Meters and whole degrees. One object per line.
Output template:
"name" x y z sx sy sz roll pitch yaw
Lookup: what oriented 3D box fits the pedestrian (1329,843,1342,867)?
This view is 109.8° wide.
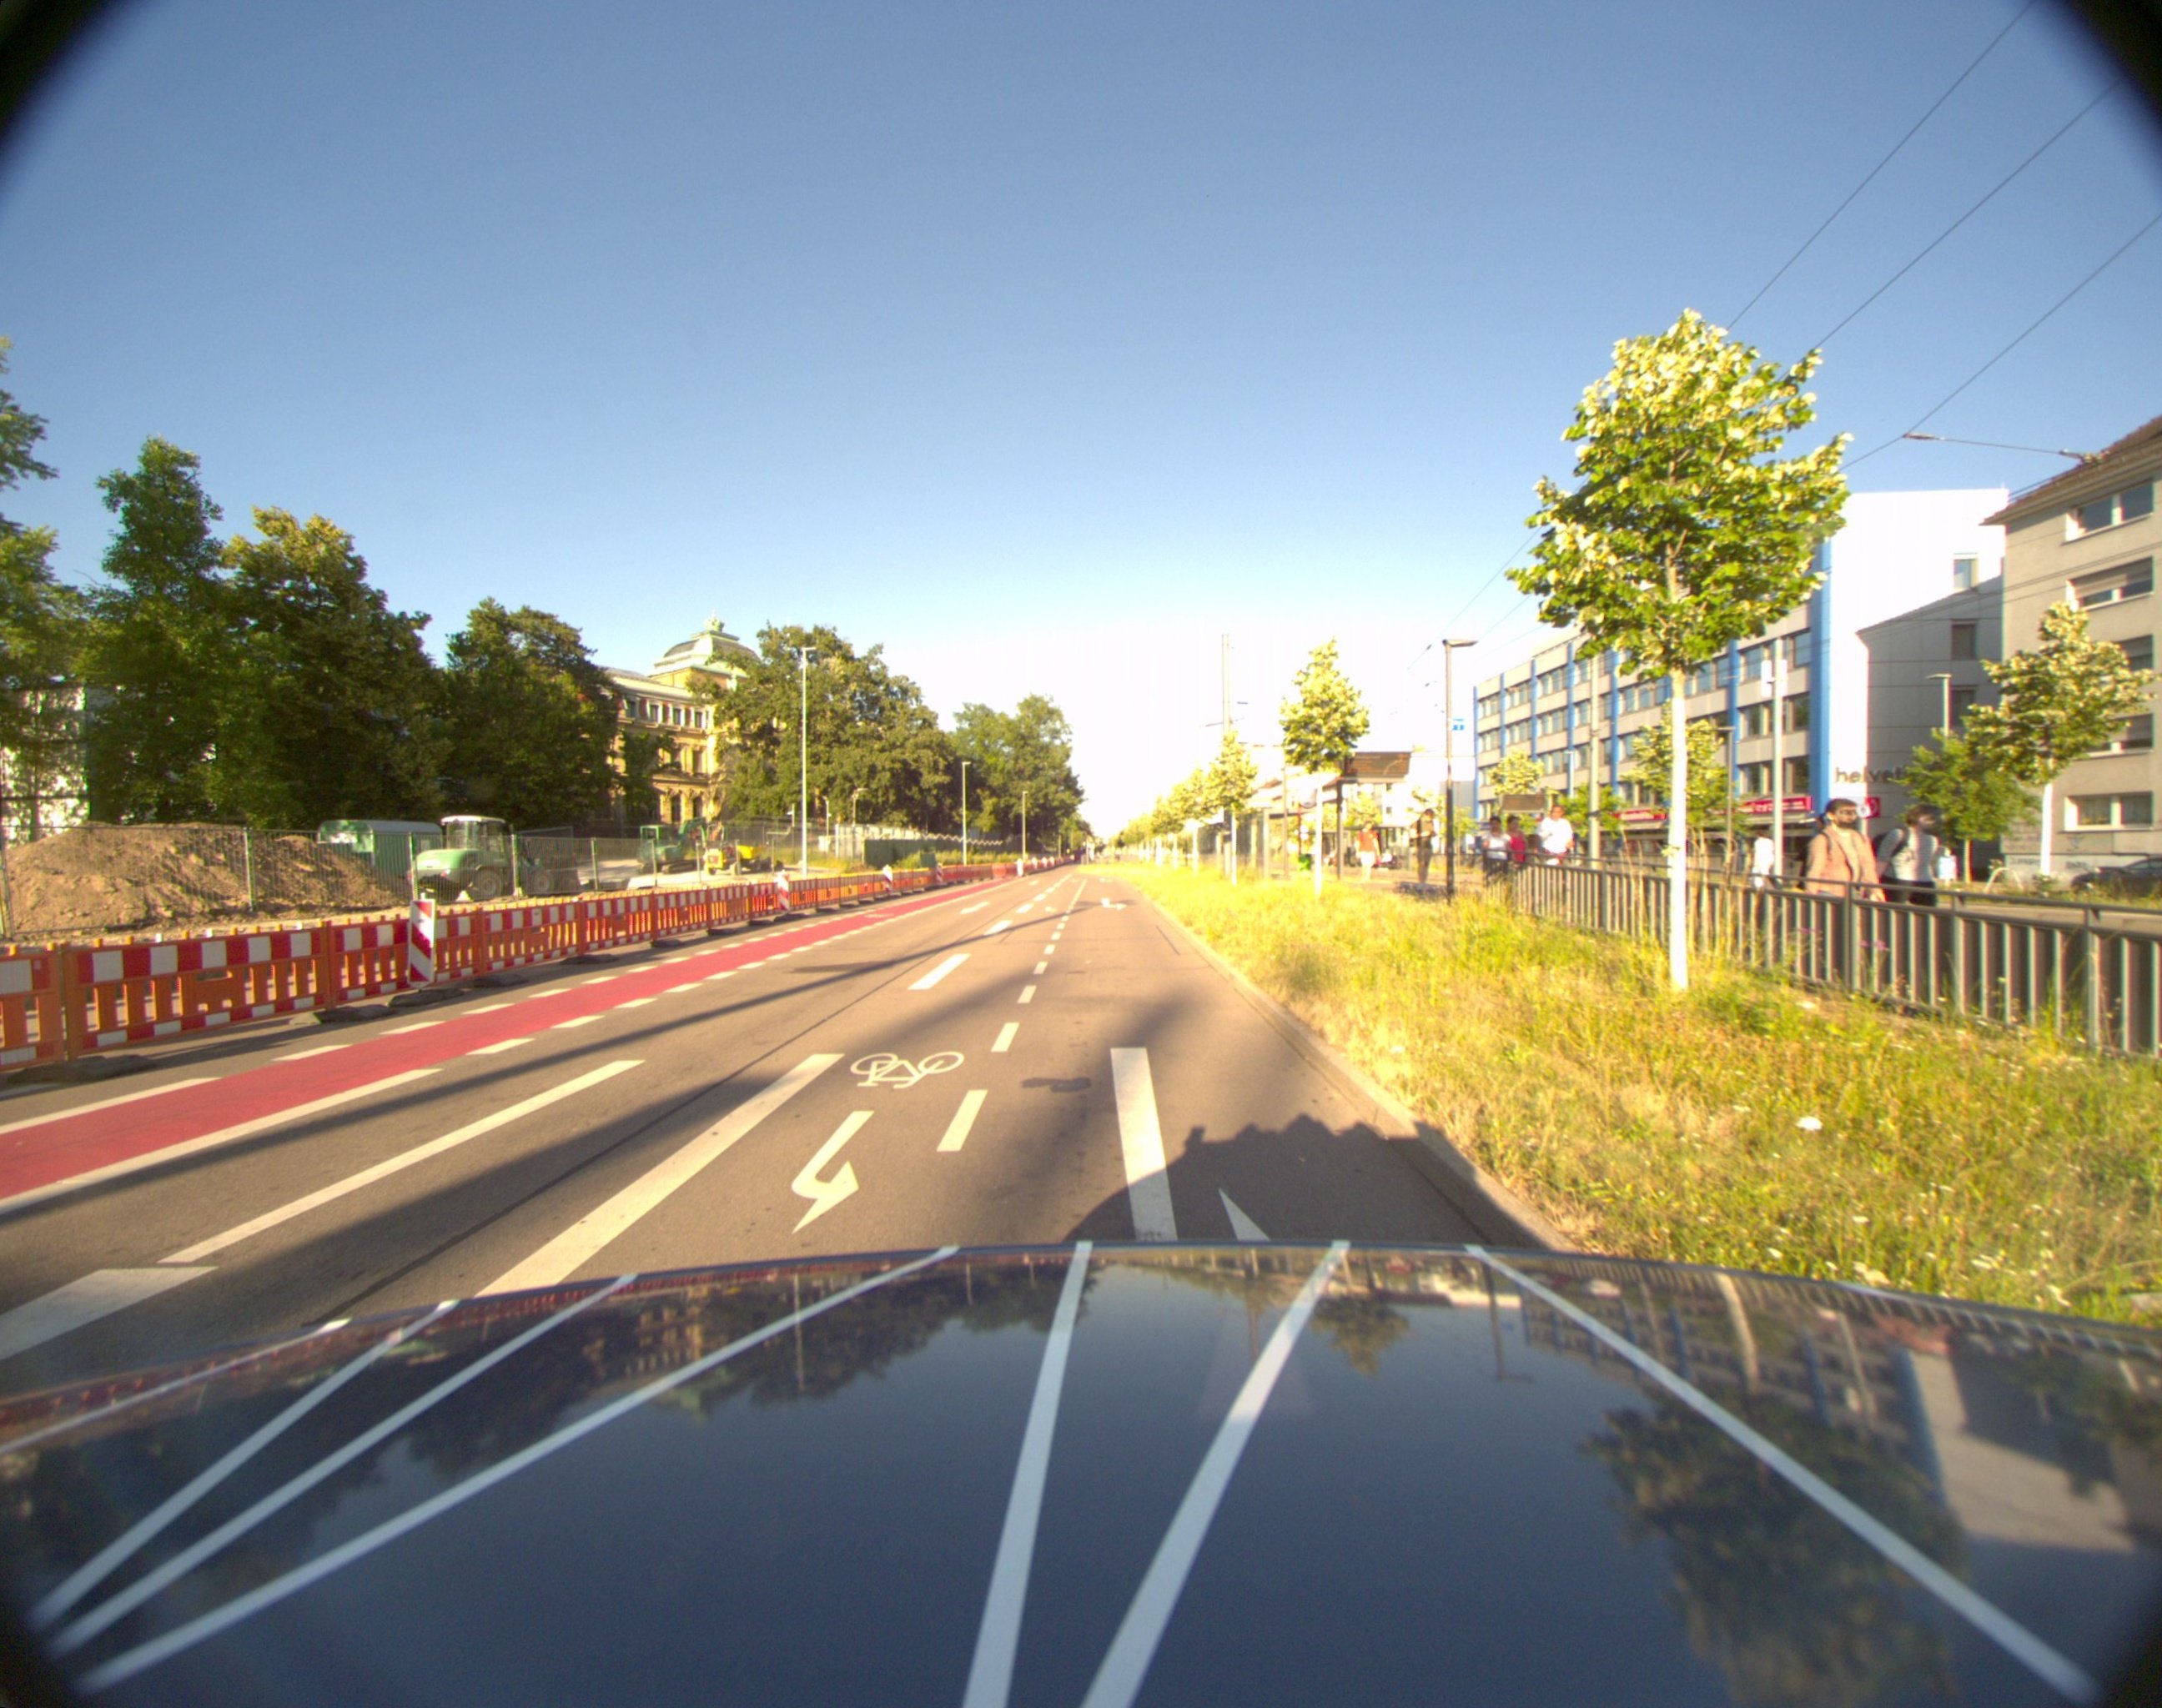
"pedestrian" 18.606 0.068 55.560 0.659 1.682 0.772 -2 1 7

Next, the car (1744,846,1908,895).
"car" 25.927 0.516 26.662 1.886 1.499 3.942 -2 1 1

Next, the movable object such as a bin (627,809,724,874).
"movable object such as a bin" -22.425 -0.692 42.322 1.998 3.310 5.376 -2 1 5

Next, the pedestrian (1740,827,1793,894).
"pedestrian" 17.662 0.156 19.582 0.787 1.663 0.619 -2 1 4

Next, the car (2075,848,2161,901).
"car" 33.126 0.618 22.762 1.886 1.499 3.674 -2 1 1

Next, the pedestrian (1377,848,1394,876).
"pedestrian" 18.263 0.465 45.624 0.660 1.682 0.772 -2 1 -1

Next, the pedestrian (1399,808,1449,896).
"pedestrian" 7.502 -0.041 16.647 0.787 1.853 0.619 -2 1 4

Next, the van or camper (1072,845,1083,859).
"van or camper" -0.611 -0.433 152.160 1.998 2.514 5.913 -2 1 1

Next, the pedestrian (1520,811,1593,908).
"pedestrian" 7.854 0.089 12.572 0.787 1.540 0.619 -2 1 4

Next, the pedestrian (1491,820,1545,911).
"pedestrian" 7.049 0.179 12.275 0.637 1.423 0.525 -2 1 19

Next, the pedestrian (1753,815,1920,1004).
"pedestrian" 6.441 0.454 6.511 0.787 1.527 0.619 -2 1 5

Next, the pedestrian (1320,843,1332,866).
"pedestrian" 18.664 0.040 57.865 0.659 1.682 0.772 -2 1 4

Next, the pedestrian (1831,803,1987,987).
"pedestrian" 7.794 0.370 7.176 0.787 1.631 0.619 -2 1 -1

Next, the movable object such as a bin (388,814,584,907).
"movable object such as a bin" -19.042 0.167 24.734 1.998 2.668 5.015 -2 1 5

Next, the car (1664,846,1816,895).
"car" 22.822 0.511 26.539 1.886 1.499 3.942 -2 1 1

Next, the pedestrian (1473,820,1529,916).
"pedestrian" 6.541 0.215 11.857 0.637 1.447 0.525 -2 1 17

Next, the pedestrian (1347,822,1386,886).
"pedestrian" 7.755 -0.014 20.665 0.787 1.689 0.619 -2 1 4

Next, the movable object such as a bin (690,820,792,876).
"movable object such as a bin" -18.646 -0.355 42.087 1.997 2.800 5.871 -2 1 11
